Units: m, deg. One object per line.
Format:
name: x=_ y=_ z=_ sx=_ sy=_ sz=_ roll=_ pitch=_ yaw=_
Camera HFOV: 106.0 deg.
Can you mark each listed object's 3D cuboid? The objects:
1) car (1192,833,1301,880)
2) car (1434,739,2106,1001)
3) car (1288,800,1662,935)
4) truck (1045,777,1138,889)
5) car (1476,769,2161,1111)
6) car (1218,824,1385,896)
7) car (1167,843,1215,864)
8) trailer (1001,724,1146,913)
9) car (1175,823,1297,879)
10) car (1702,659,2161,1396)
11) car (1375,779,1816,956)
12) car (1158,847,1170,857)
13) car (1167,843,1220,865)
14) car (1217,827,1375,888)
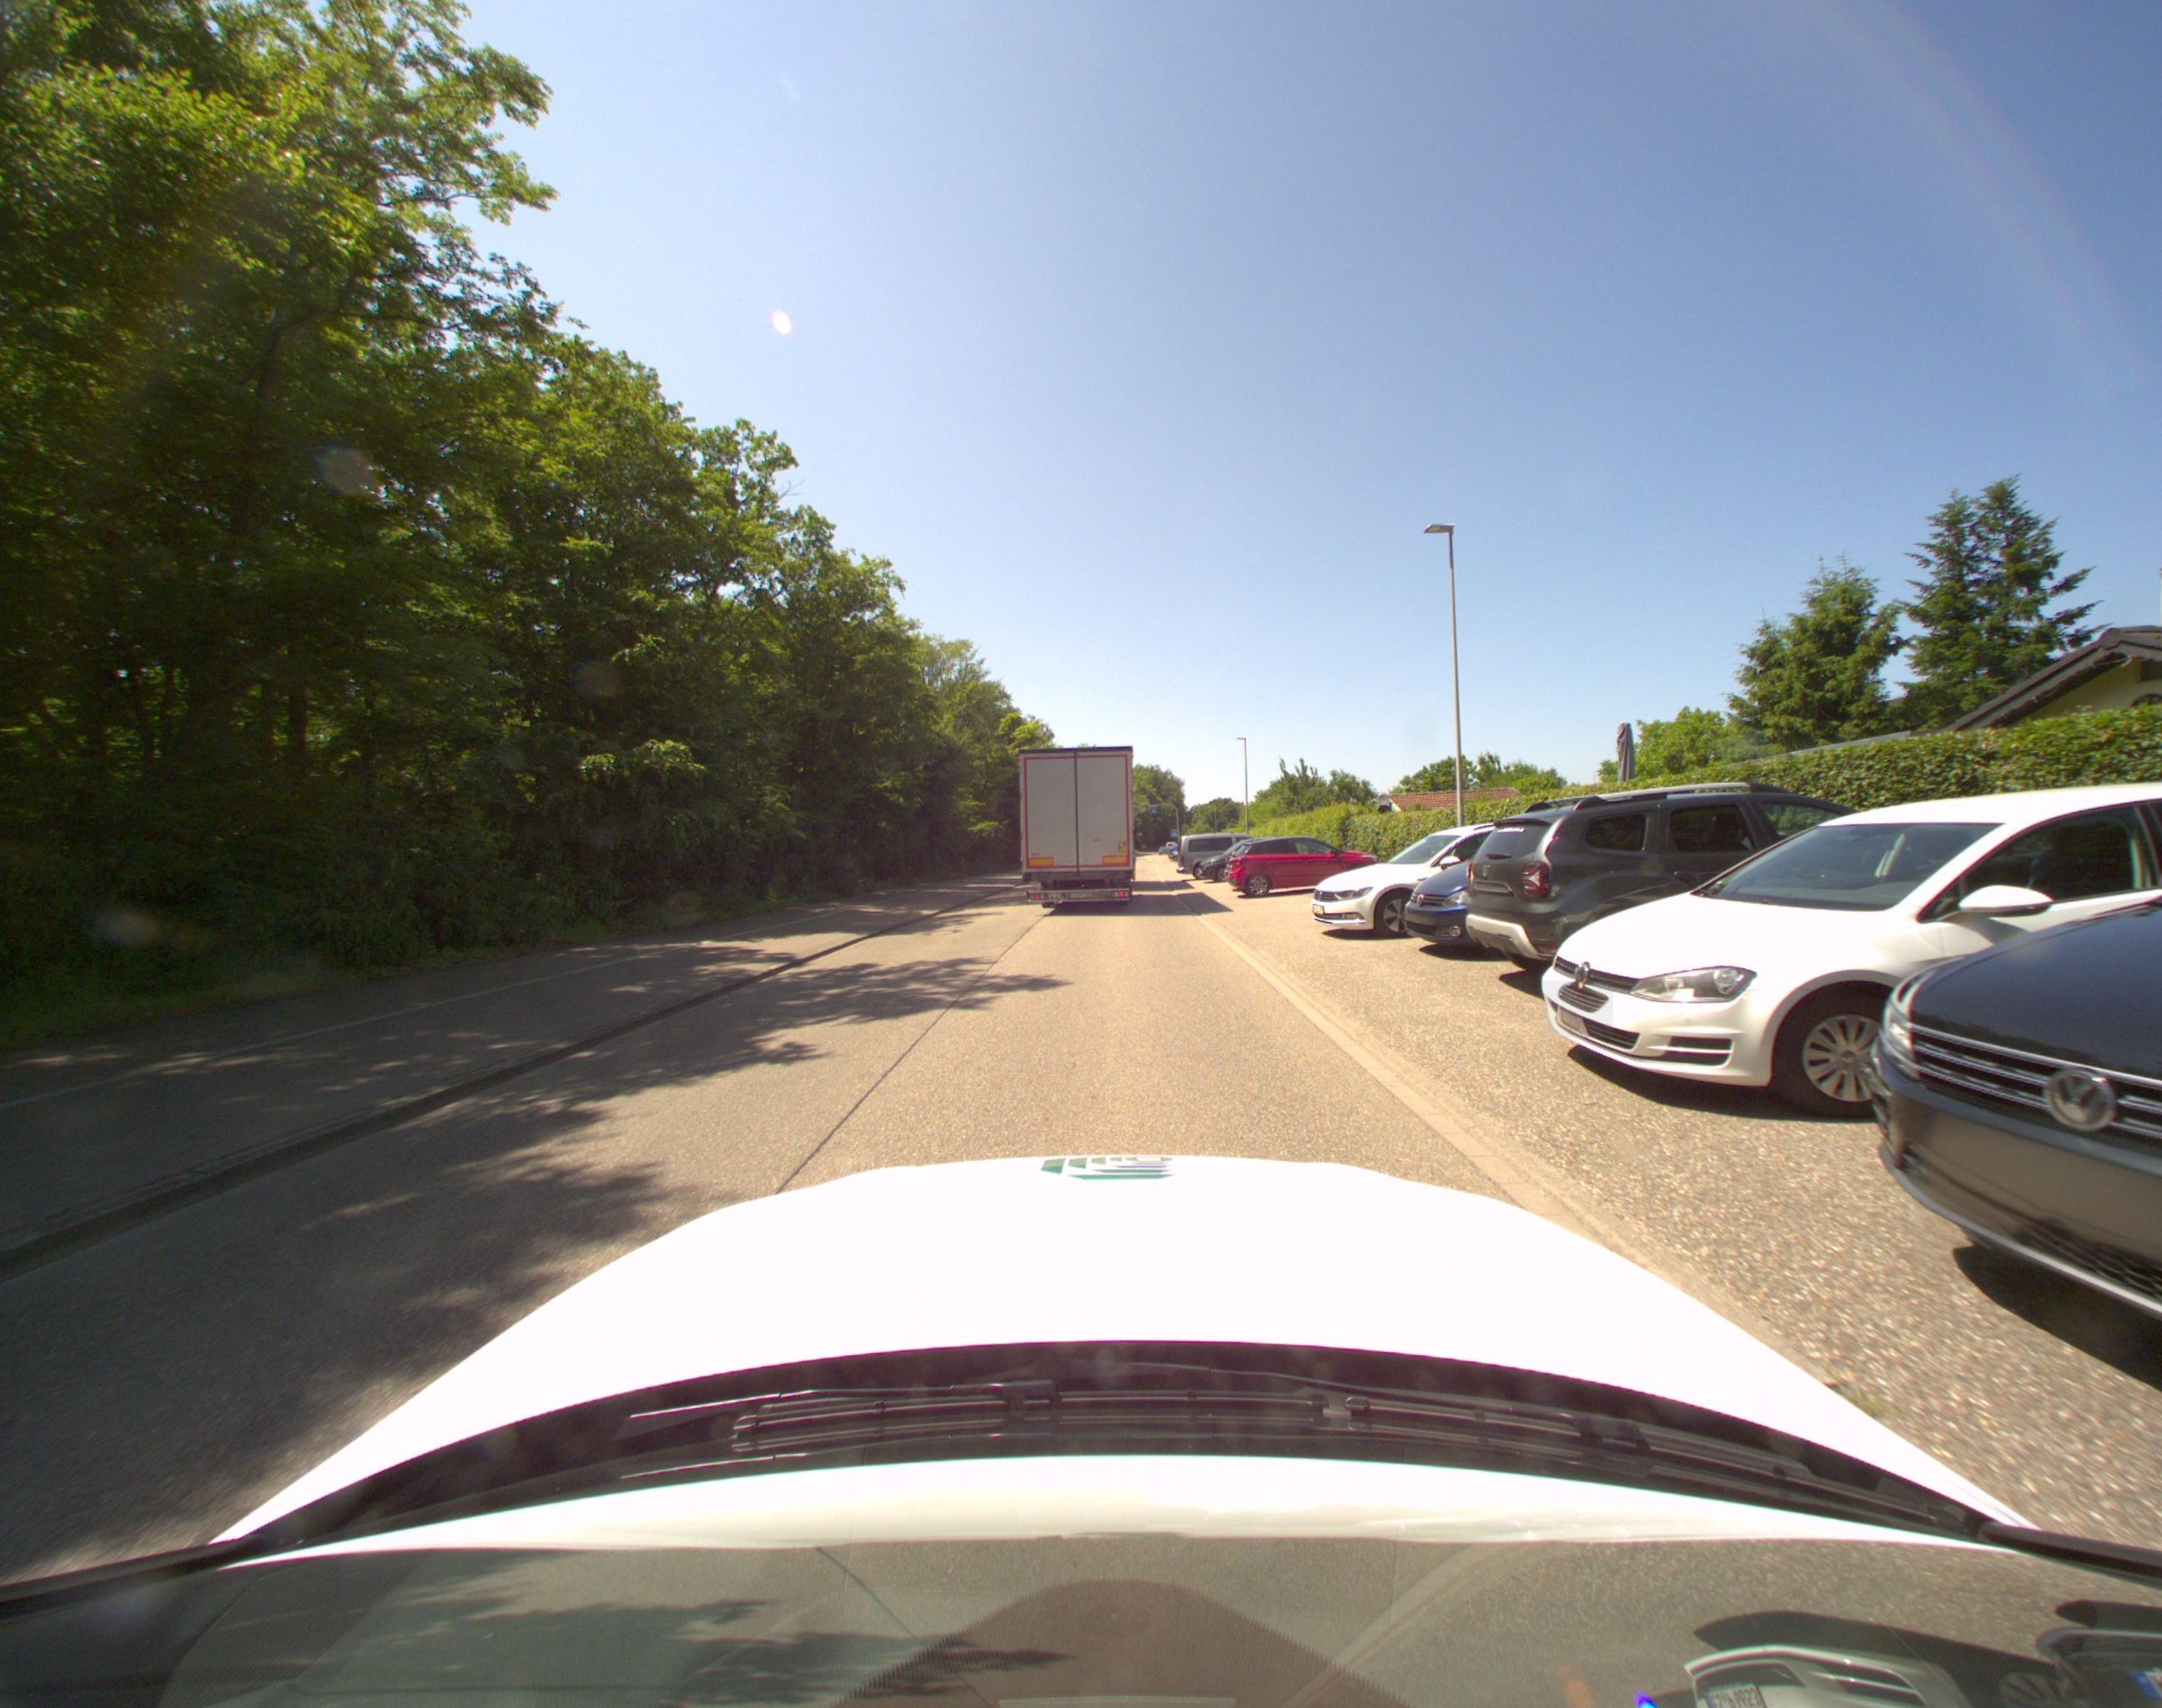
car: x=6.065 y=0.085 z=30.141 sx=3.566 sy=1.502 sz=1.840 roll=-3 pitch=0 yaw=-2
car: x=5.699 y=0.134 z=7.247 sx=4.239 sy=1.698 sz=1.855 roll=-5 pitch=0 yaw=3
car: x=5.655 y=0.183 z=12.119 sx=4.545 sy=1.439 sz=1.961 roll=-5 pitch=0 yaw=-1
truck: x=0.518 y=-0.754 z=30.929 sx=3.101 sy=3.725 sz=6.418 roll=-2 pitch=0 yaw=3
car: x=4.815 y=0.358 z=4.829 sx=3.982 sy=1.452 sz=1.832 roll=-5 pitch=0 yaw=2
car: x=5.768 y=0.148 z=21.668 sx=3.903 sy=1.478 sz=1.846 roll=-5 pitch=0 yaw=3
car: x=10.206 y=-0.011 z=75.858 sx=4.218 sy=1.634 sz=1.825 roll=-4 pitch=-1 yaw=5
trailer: x=0.139 y=-0.841 z=23.814 sx=3.100 sy=4.102 sz=11.546 roll=-2 pitch=0 yaw=3
car: x=6.262 y=-0.122 z=33.340 sx=4.601 sy=1.848 sz=1.998 roll=-5 pitch=0 yaw=4
car: x=4.677 y=0.216 z=2.198 sx=4.456 sy=1.704 sz=1.913 roll=-5 pitch=0 yaw=0
car: x=5.868 y=0.144 z=9.653 sx=4.036 sy=1.548 sz=1.758 roll=-5 pitch=0 yaw=0
car: x=13.498 y=-0.355 z=132.358 sx=1.772 sy=1.486 sz=4.005 roll=-1 pitch=0 yaw=5
car: x=9.232 y=0.010 z=66.827 sx=4.144 sy=1.495 sz=1.885 roll=-4 pitch=-1 yaw=5
car: x=6.345 y=0.105 z=24.420 sx=4.187 sy=1.388 sz=1.842 roll=-5 pitch=0 yaw=2
